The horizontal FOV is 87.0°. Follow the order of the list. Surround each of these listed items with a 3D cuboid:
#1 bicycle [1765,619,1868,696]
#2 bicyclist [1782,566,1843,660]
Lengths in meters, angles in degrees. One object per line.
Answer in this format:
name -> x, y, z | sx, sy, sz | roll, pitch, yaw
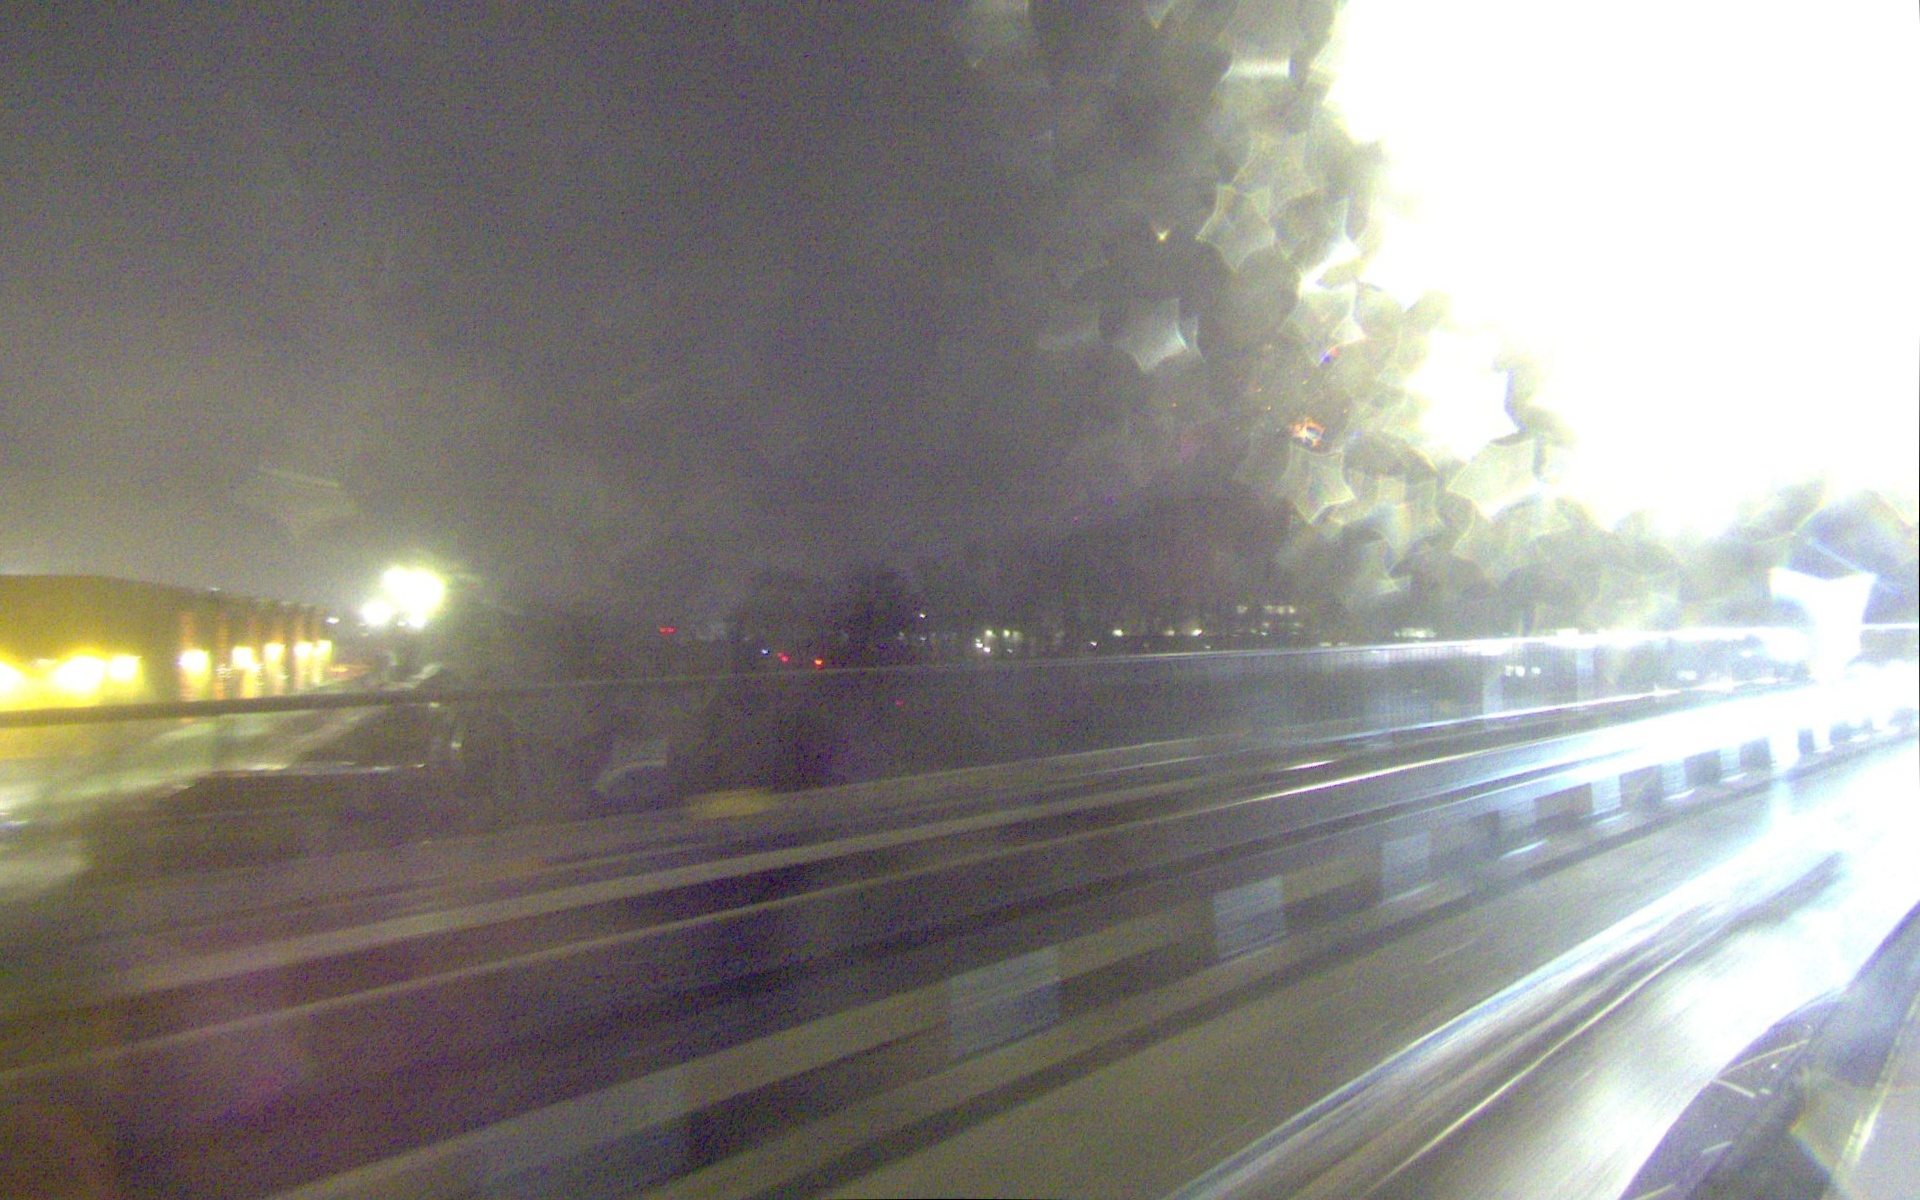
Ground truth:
bicycle -> 12.782, 0.830, 15.081 | 2.128, 1.047, 0.486 | 0, 0, -30
bicyclist -> 12.594, 0.189, 14.957 | 0.749, 1.366, 0.454 | 1, -1, -30
